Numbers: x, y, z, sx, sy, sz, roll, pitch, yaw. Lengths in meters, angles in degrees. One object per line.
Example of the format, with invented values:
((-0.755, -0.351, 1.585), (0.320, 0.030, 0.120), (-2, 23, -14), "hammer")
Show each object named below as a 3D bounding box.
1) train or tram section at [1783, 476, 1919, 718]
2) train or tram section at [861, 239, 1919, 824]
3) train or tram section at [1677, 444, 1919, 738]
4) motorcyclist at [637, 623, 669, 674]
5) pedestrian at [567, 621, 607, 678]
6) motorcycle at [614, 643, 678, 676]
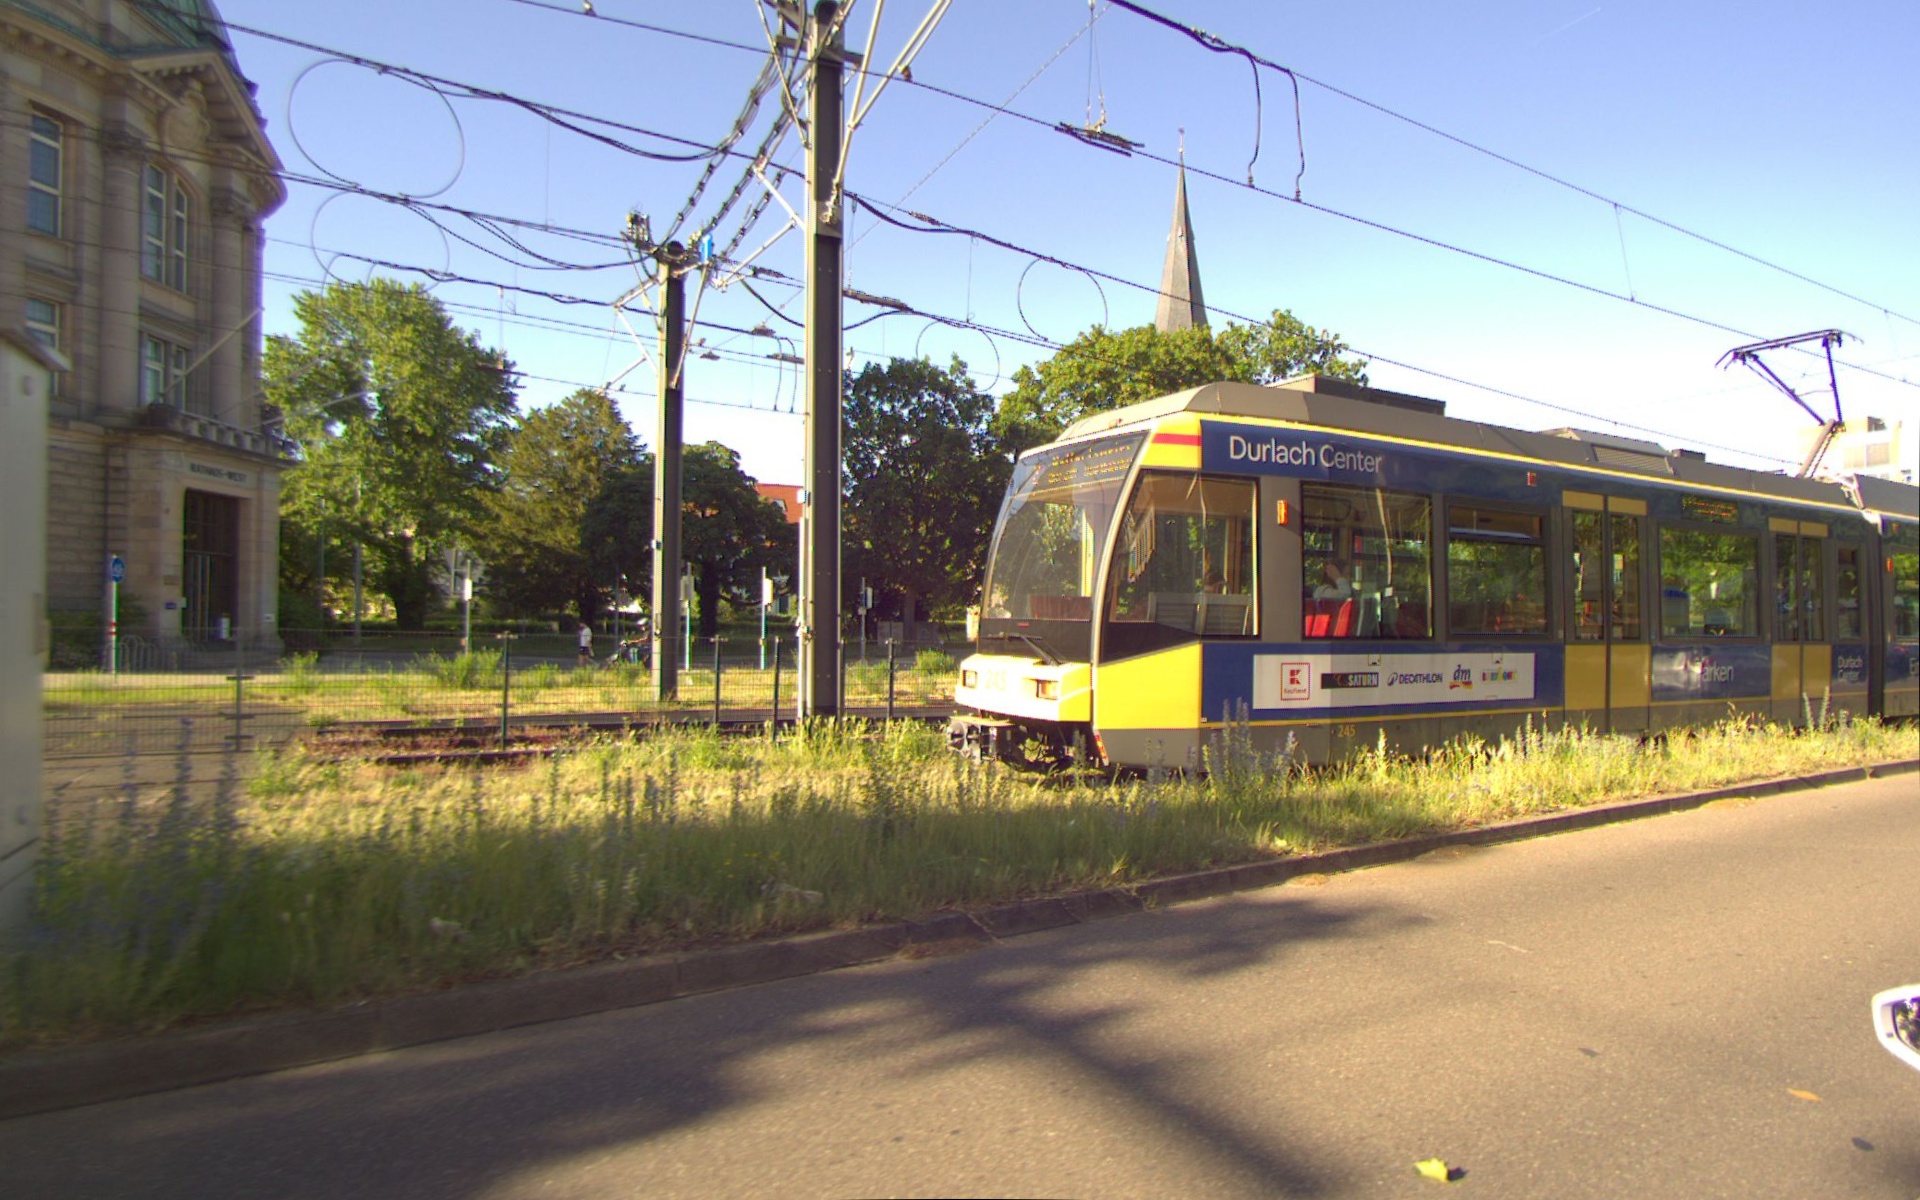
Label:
((20.124, 0.071, 19.384), (10.675, 3.949, 2.938), (1, 0, -30), "train or tram section")
((5.987, -0.304, 11.322), (14.097, 3.863, 2.916), (2, 0, -29), "train or tram section")
((13.864, -0.096, 15.692), (3.819, 3.949, 2.942), (1, 0, -29), "train or tram section")
((-7.843, 1.234, 25.680), (0.682, 1.274, 0.512), (1, 0, -26), "motorcyclist")
((-12.145, 1.591, 32.707), (0.747, 1.797, 0.921), (2, 0, 38), "pedestrian")
((-7.987, 1.515, 25.601), (1.503, 0.794, 0.367), (1, 0, -28), "motorcycle")
